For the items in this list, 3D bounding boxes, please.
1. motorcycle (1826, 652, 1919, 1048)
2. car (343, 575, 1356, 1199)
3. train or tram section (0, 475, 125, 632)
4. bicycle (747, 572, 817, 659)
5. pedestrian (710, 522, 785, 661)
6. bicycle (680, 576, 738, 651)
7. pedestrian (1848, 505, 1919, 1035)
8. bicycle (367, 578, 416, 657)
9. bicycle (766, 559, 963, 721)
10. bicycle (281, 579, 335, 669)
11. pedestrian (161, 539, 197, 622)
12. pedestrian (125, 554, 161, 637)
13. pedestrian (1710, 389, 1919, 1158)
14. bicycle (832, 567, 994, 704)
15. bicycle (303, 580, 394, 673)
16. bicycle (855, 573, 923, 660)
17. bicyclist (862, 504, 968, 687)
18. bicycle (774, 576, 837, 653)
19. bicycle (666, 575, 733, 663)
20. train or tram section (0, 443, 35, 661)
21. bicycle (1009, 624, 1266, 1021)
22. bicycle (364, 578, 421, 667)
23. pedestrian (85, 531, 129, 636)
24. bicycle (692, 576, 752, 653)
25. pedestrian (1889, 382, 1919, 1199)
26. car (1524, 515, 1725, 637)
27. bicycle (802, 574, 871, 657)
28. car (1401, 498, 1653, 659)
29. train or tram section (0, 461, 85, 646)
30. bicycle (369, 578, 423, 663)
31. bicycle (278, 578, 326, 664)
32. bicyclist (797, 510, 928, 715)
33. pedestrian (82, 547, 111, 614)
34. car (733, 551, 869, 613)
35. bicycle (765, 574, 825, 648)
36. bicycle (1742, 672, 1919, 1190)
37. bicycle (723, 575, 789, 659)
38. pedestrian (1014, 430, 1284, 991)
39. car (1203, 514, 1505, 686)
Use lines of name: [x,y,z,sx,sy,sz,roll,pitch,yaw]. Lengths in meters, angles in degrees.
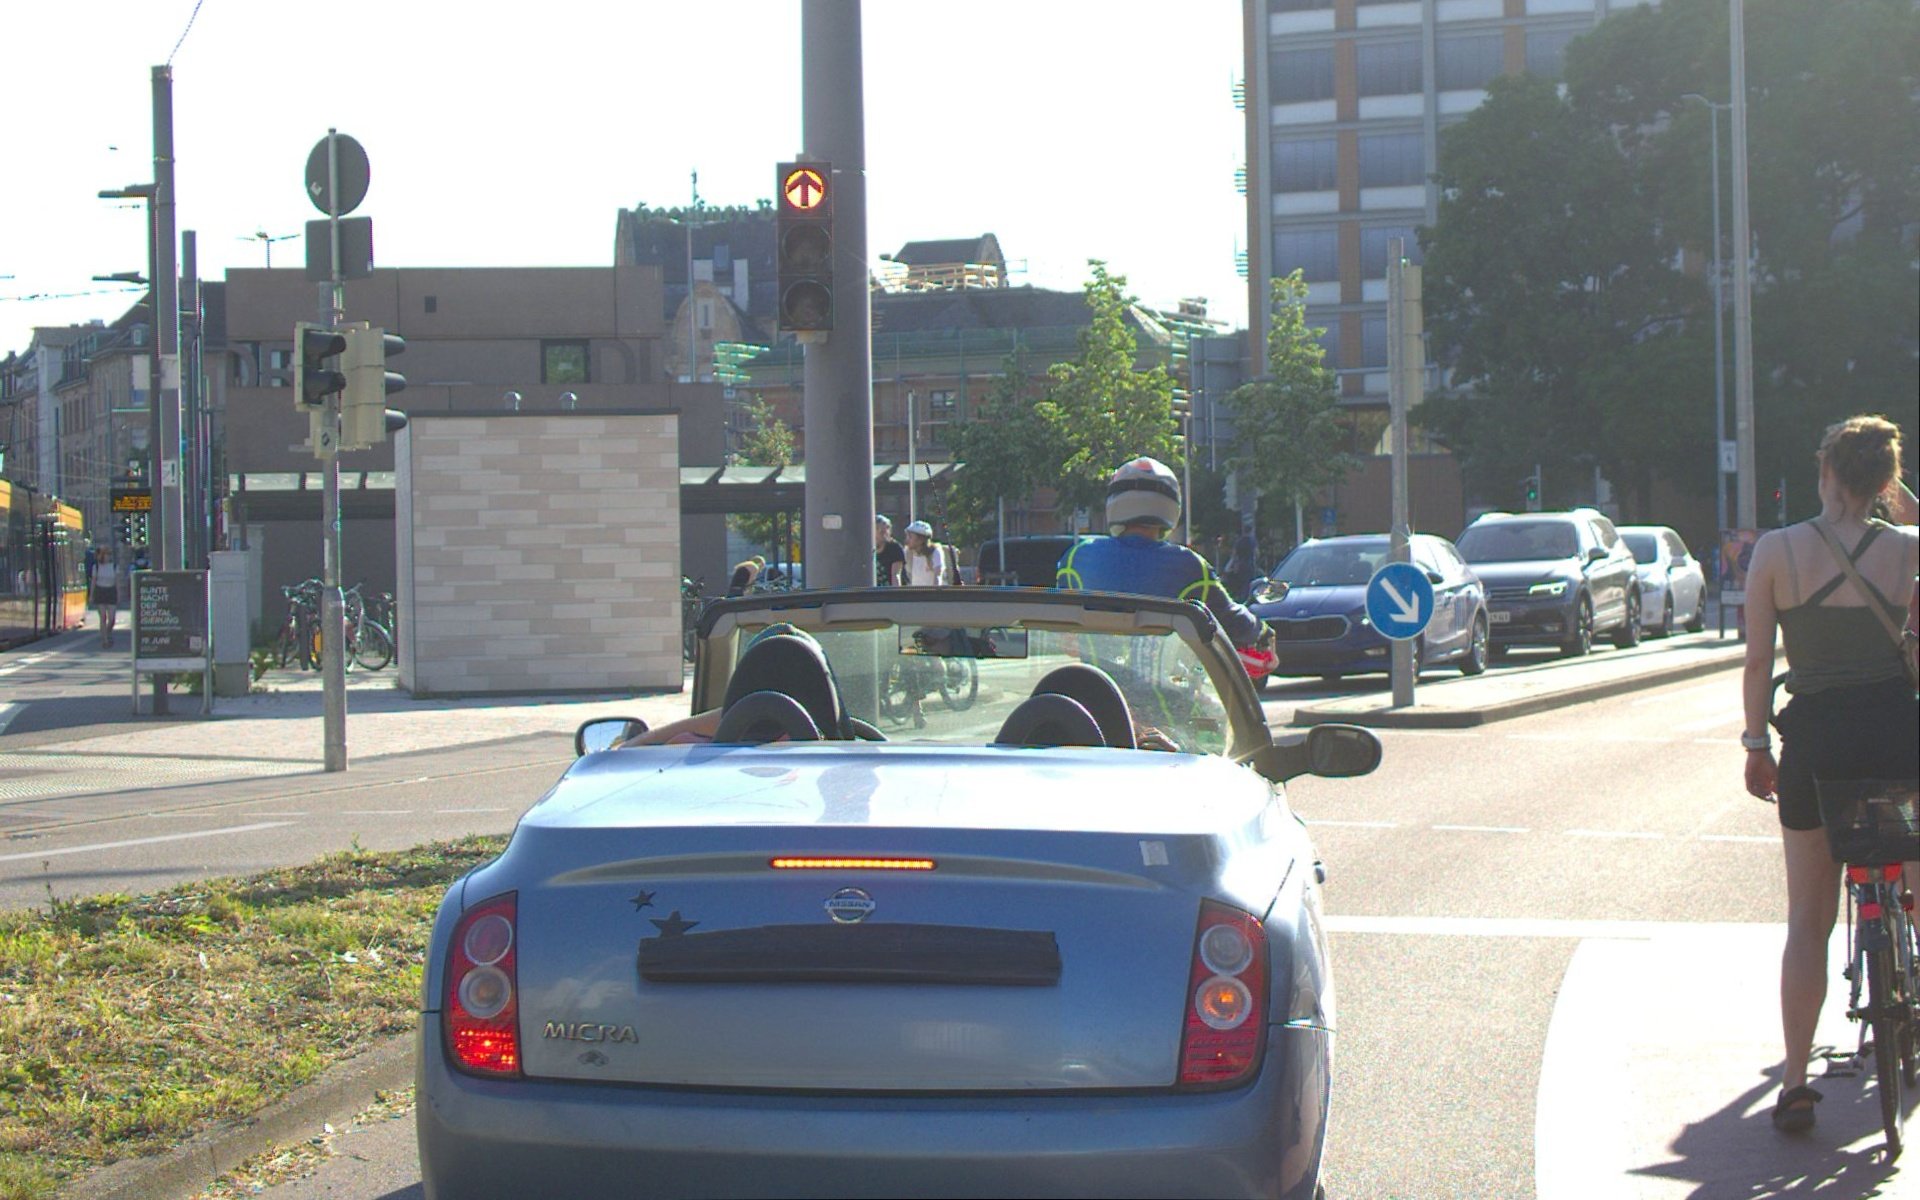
motorcycle: [3.173,0.746,11.081,0.614,1.094,2.358,1,1,17]
car: [0.032,0.677,7.694,1.660,1.436,4.153,1,1,6]
train or tram section: [-22.577,-1.141,84.598,3.039,3.584,12.055,1,1,-9]
bicycle: [-2.357,0.191,45.265,0.606,1.111,1.897,1,1,-12]
pedestrian: [-2.895,-0.121,46.783,0.900,1.862,0.687,1,0,-12]
bicycle: [-3.874,0.199,53.037,0.606,1.111,1.897,1,1,-12]
pedestrian: [3.132,0.512,10.815,0.588,1.593,1.024,1,0,17]
bicycle: [-8.330,0.244,50.340,0.606,1.111,1.897,1,1,-12]
bicycle: [-0.773,0.313,28.854,0.675,1.246,2.454,-3,0,22]
bicycle: [-8.365,0.300,44.071,0.606,1.111,1.897,1,1,-12]
pedestrian: [-16.774,-0.422,73.819,0.637,1.743,0.736,-1,1,-19]
pedestrian: [-17.418,-0.094,73.318,0.637,1.743,0.736,-1,1,-19]
pedestrian: [2.286,0.415,8.785,0.659,1.862,0.872,1,0,15]
bicycle: [-0.408,0.310,31.467,0.675,1.176,2.181,-1,1,22]
bicycle: [-7.545,0.317,42.467,0.607,1.111,1.896,1,1,5]
bicycle: [-0.947,0.207,45.568,0.606,1.111,1.897,1,1,-10]
bicyclist: [-0.409,-0.046,31.489,0.709,1.651,0.742,-1,1,22]
bicycle: [-2.313,0.207,51.273,0.606,1.111,1.897,1,1,-12]
bicycle: [-3.430,0.236,45.124,0.606,1.111,1.897,1,1,-12]
train or tram section: [-18.167,-0.852,60.681,2.880,3.584,12.203,1,1,-12]
bicycle: [0.657,0.699,11.903,0.608,1.187,2.414,1,1,9]
bicycle: [-7.340,0.277,44.402,0.606,1.111,1.897,1,1,-12]
pedestrian: [-14.394,-0.282,58.024,0.637,1.743,0.572,-1,1,-19]
bicycle: [-3.544,0.210,51.070,0.606,1.111,1.897,1,1,-12]
pedestrian: [2.489,0.456,7.399,0.806,1.862,0.956,1,0,8]
car: [9.001,-0.347,46.331,1.697,1.555,3.974,-1,1,25]
bicycle: [-1.721,0.203,47.585,0.606,1.111,1.897,1,1,-12]
car: [6.620,-0.281,39.749,1.763,1.700,4.525,-2,0,24]
train or tram section: [-20.509,-0.993,72.671,3.011,3.584,12.203,1,1,-10]
bicycle: [-7.629,0.266,46.466,0.606,1.111,1.897,1,1,-12]
bicycle: [-8.799,0.275,45.997,0.606,1.111,1.897,1,1,-11]
bicyclist: [-0.813,0.099,28.782,0.709,1.651,0.900,-3,0,22]
pedestrian: [-22.573,-0.508,89.889,0.604,1.743,0.832,-1,1,-8]
car: [-4.122,-0.457,88.689,1.640,1.555,3.599,-2,1,-39]
bicycle: [-2.561,0.161,53.244,0.606,1.111,1.897,1,1,-12]
bicycle: [2.368,0.792,8.978,0.564,1.147,1.948,1,1,14]
bicycle: [-2.808,0.224,47.197,0.606,1.111,1.897,1,1,-12]
pedestrian: [0.673,0.360,11.966,0.833,1.862,0.920,1,0,8]
car: [3.915,-0.013,33.635,1.739,1.568,3.919,1,1,25]
